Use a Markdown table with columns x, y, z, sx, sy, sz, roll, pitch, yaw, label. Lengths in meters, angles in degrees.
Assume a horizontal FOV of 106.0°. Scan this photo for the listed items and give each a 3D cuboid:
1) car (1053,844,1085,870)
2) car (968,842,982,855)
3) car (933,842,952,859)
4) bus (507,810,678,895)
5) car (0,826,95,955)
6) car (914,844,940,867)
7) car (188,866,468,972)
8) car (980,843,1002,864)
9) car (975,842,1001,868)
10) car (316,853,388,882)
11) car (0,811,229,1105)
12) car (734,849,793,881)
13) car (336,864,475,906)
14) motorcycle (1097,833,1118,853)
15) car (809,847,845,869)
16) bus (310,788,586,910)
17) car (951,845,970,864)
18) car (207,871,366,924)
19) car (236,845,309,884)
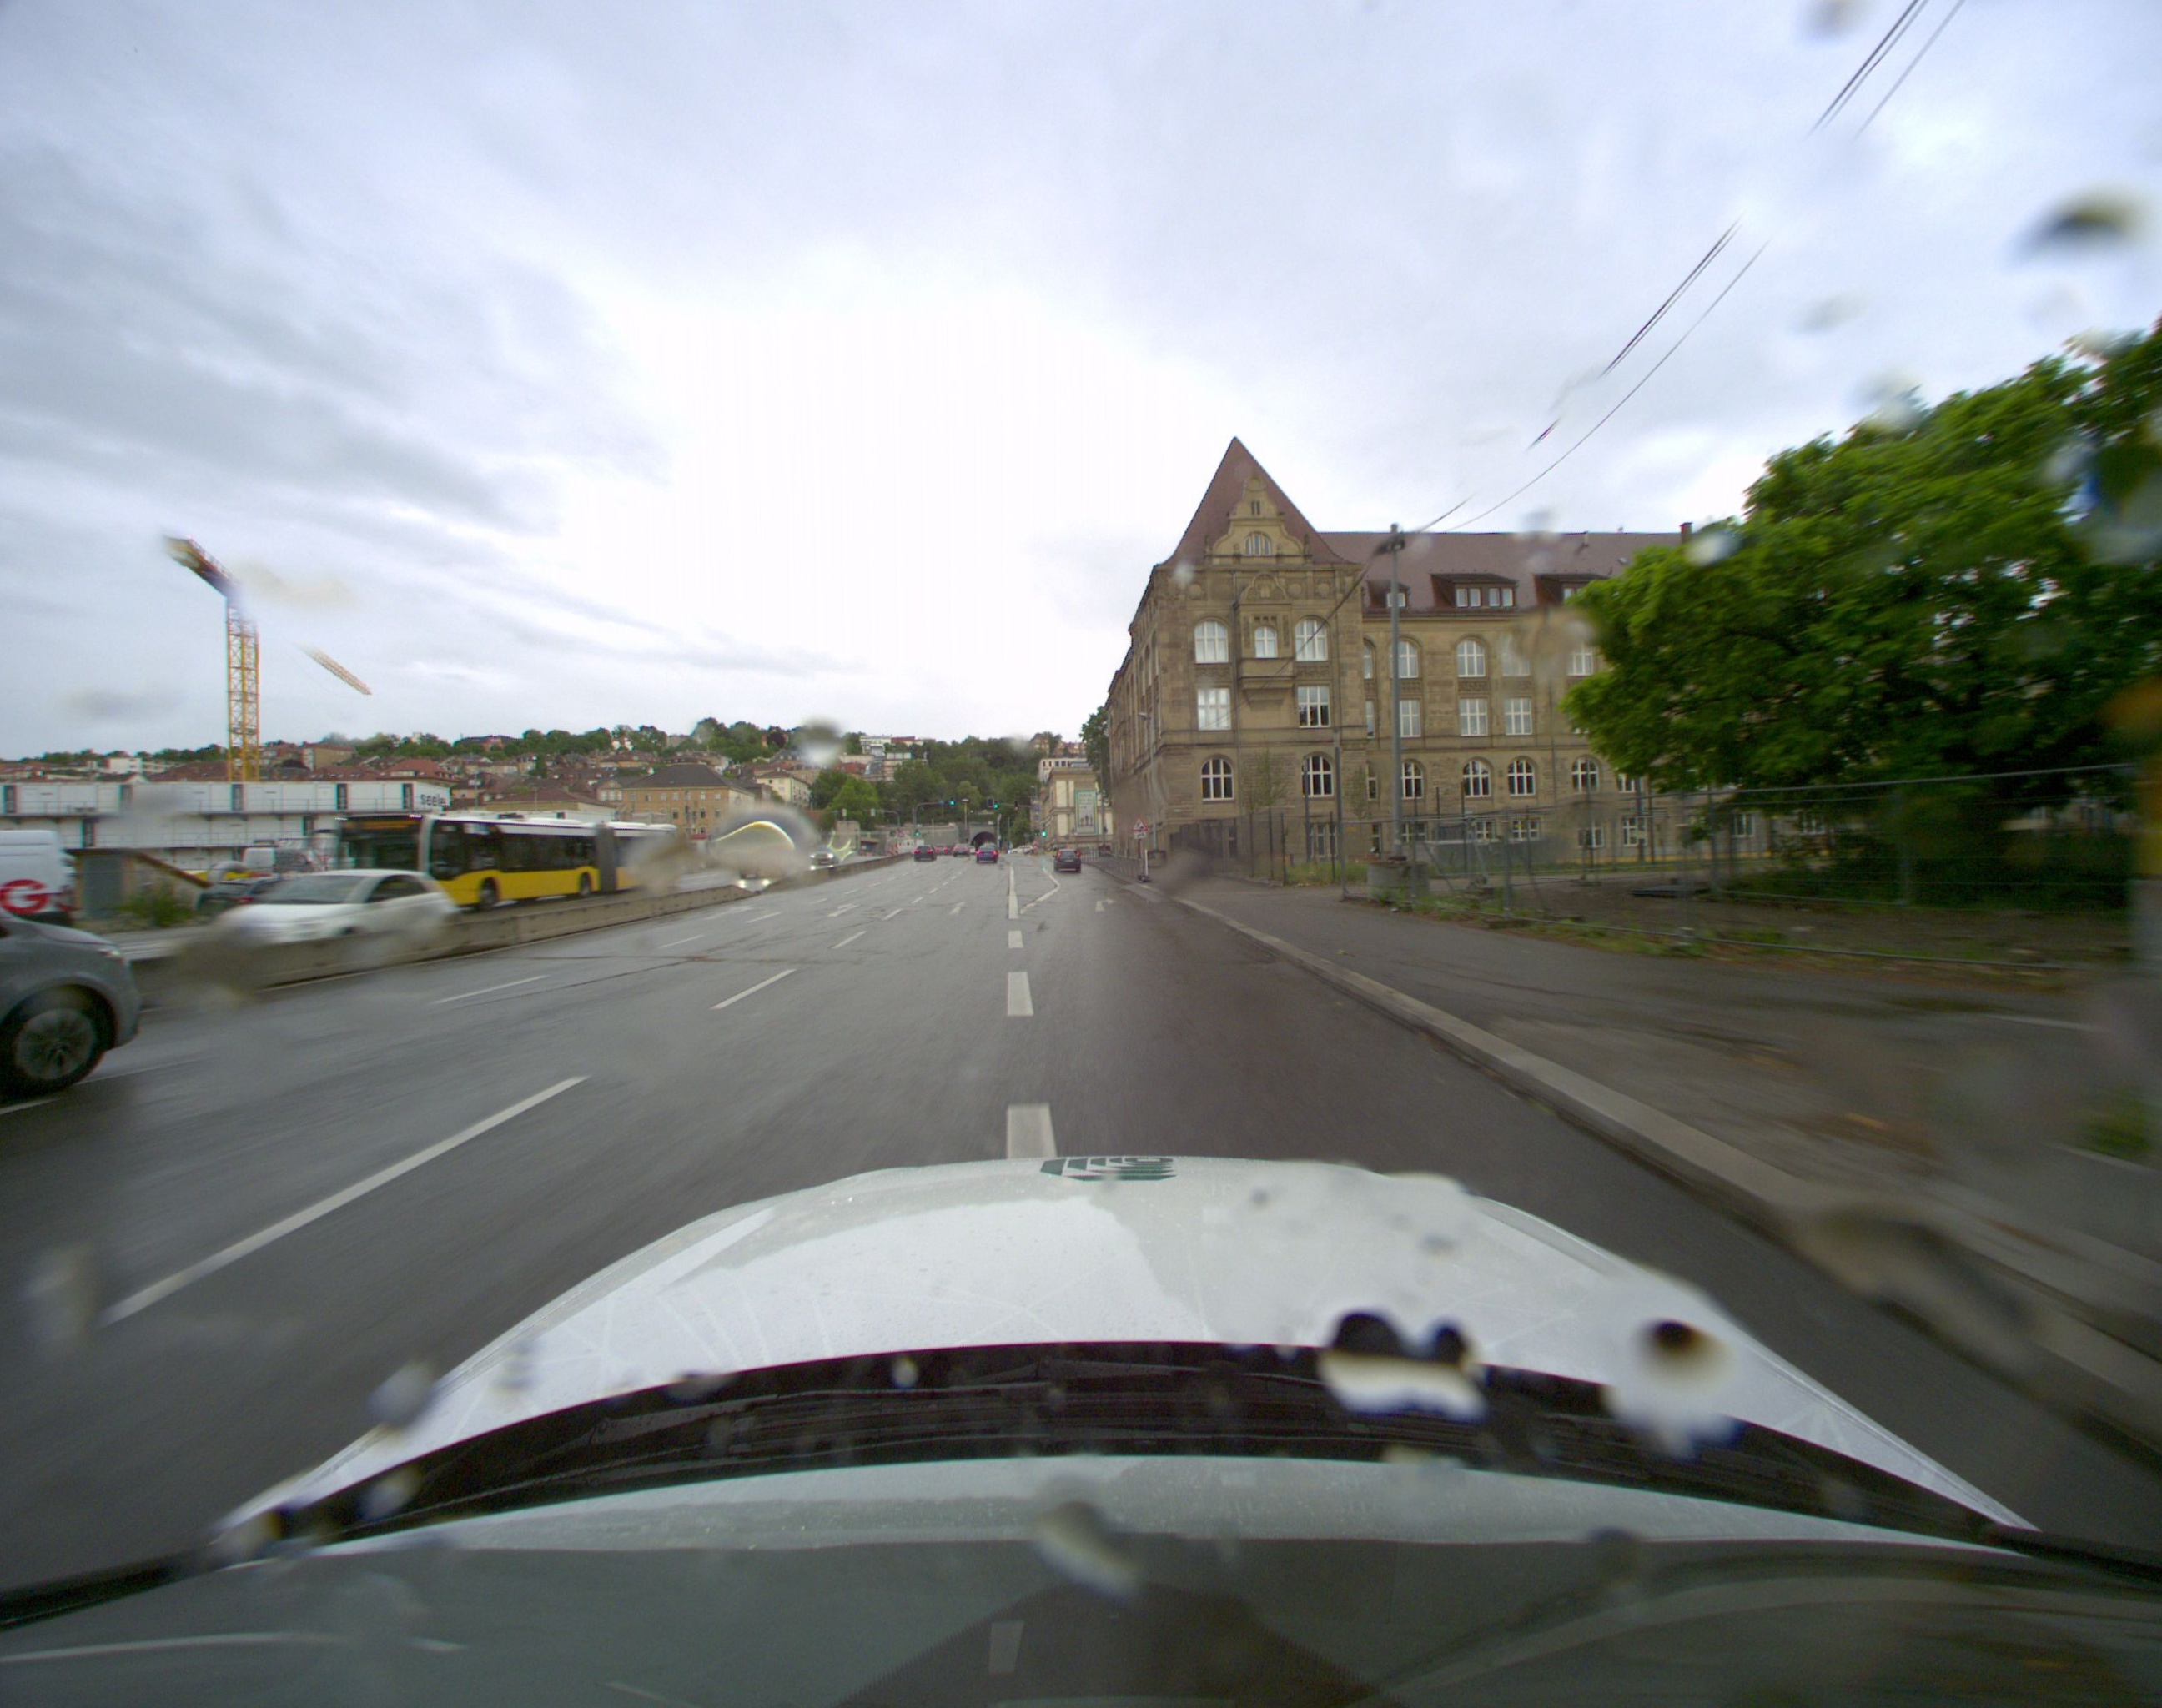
| x | y | z | sx | sy | sz | roll | pitch | yaw | label |
| --- | --- | --- | --- | --- | --- | --- | --- | --- | --- |
| -0.812 | 0.236 | 53.557 | 1.809 | 1.527 | 3.994 | -3 | -1 | -4 | car |
| -17.202 | -0.842 | 131.905 | 1.993 | 2.013 | 3.987 | -3 | -1 | -9 | car |
| -18.125 | -0.486 | 106.806 | 1.989 | 2.014 | 3.994 | -3 | -1 | -4 | car |
| -20.862 | -0.031 | 35.584 | 2.700 | 3.151 | 9.129 | -2 | 0 | -6 | bus |
| -25.557 | 0.860 | 16.938 | 1.976 | 2.875 | 6.083 | -3 | -1 | 21 | car |
| -14.829 | 0.147 | 78.569 | 2.014 | 2.014 | 3.991 | -3 | -1 | -6 | car |
| -12.560 | 1.007 | 13.917 | 1.706 | 1.489 | 3.444 | -3 | -1 | -5 | car |
| -9.402 | -0.022 | 85.570 | 1.770 | 2.014 | 3.999 | -3 | -1 | 0 | car |
| -8.216 | 0.126 | 71.864 | 2.102 | 2.050 | 3.991 | -3 | -1 | -6 | car |
| -57.421 | 1.025 | 64.293 | 1.997 | 2.013 | 5.286 | -2 | 1 | -15 | car |
| -7.745 | 0.656 | 3.872 | 1.990 | 1.856 | 5.349 | -1 | -1 | -4 | car |
| -18.564 | 0.666 | 47.828 | 2.038 | 1.662 | 4.919 | -3 | -1 | -8 | car |
| -28.404 | 1.273 | 34.471 | 1.754 | 1.565 | 4.686 | -3 | -1 | 3 | car |
| 2.762 | -1.148 | 85.586 | 1.791 | 2.013 | 3.810 | -2 | 1 | -2 | motorcycle |
| -22.132 | 0.400 | 71.047 | 1.992 | 1.756 | 5.284 | -3 | -1 | -7 | car |
| -19.959 | -0.106 | 26.668 | 2.803 | 3.184 | 8.787 | -3 | 0 | -6 | bus |
| -14.164 | 0.085 | 95.987 | 2.050 | 2.014 | 3.989 | -3 | -1 | -7 | car |
| -28.532 | 1.520 | 29.457 | 1.758 | 1.565 | 4.170 | -2 | 1 | -3 | car |
| -62.374 | 0.875 | 62.934 | 2.001 | 2.830 | 5.274 | -2 | -1 | -21 | car |
